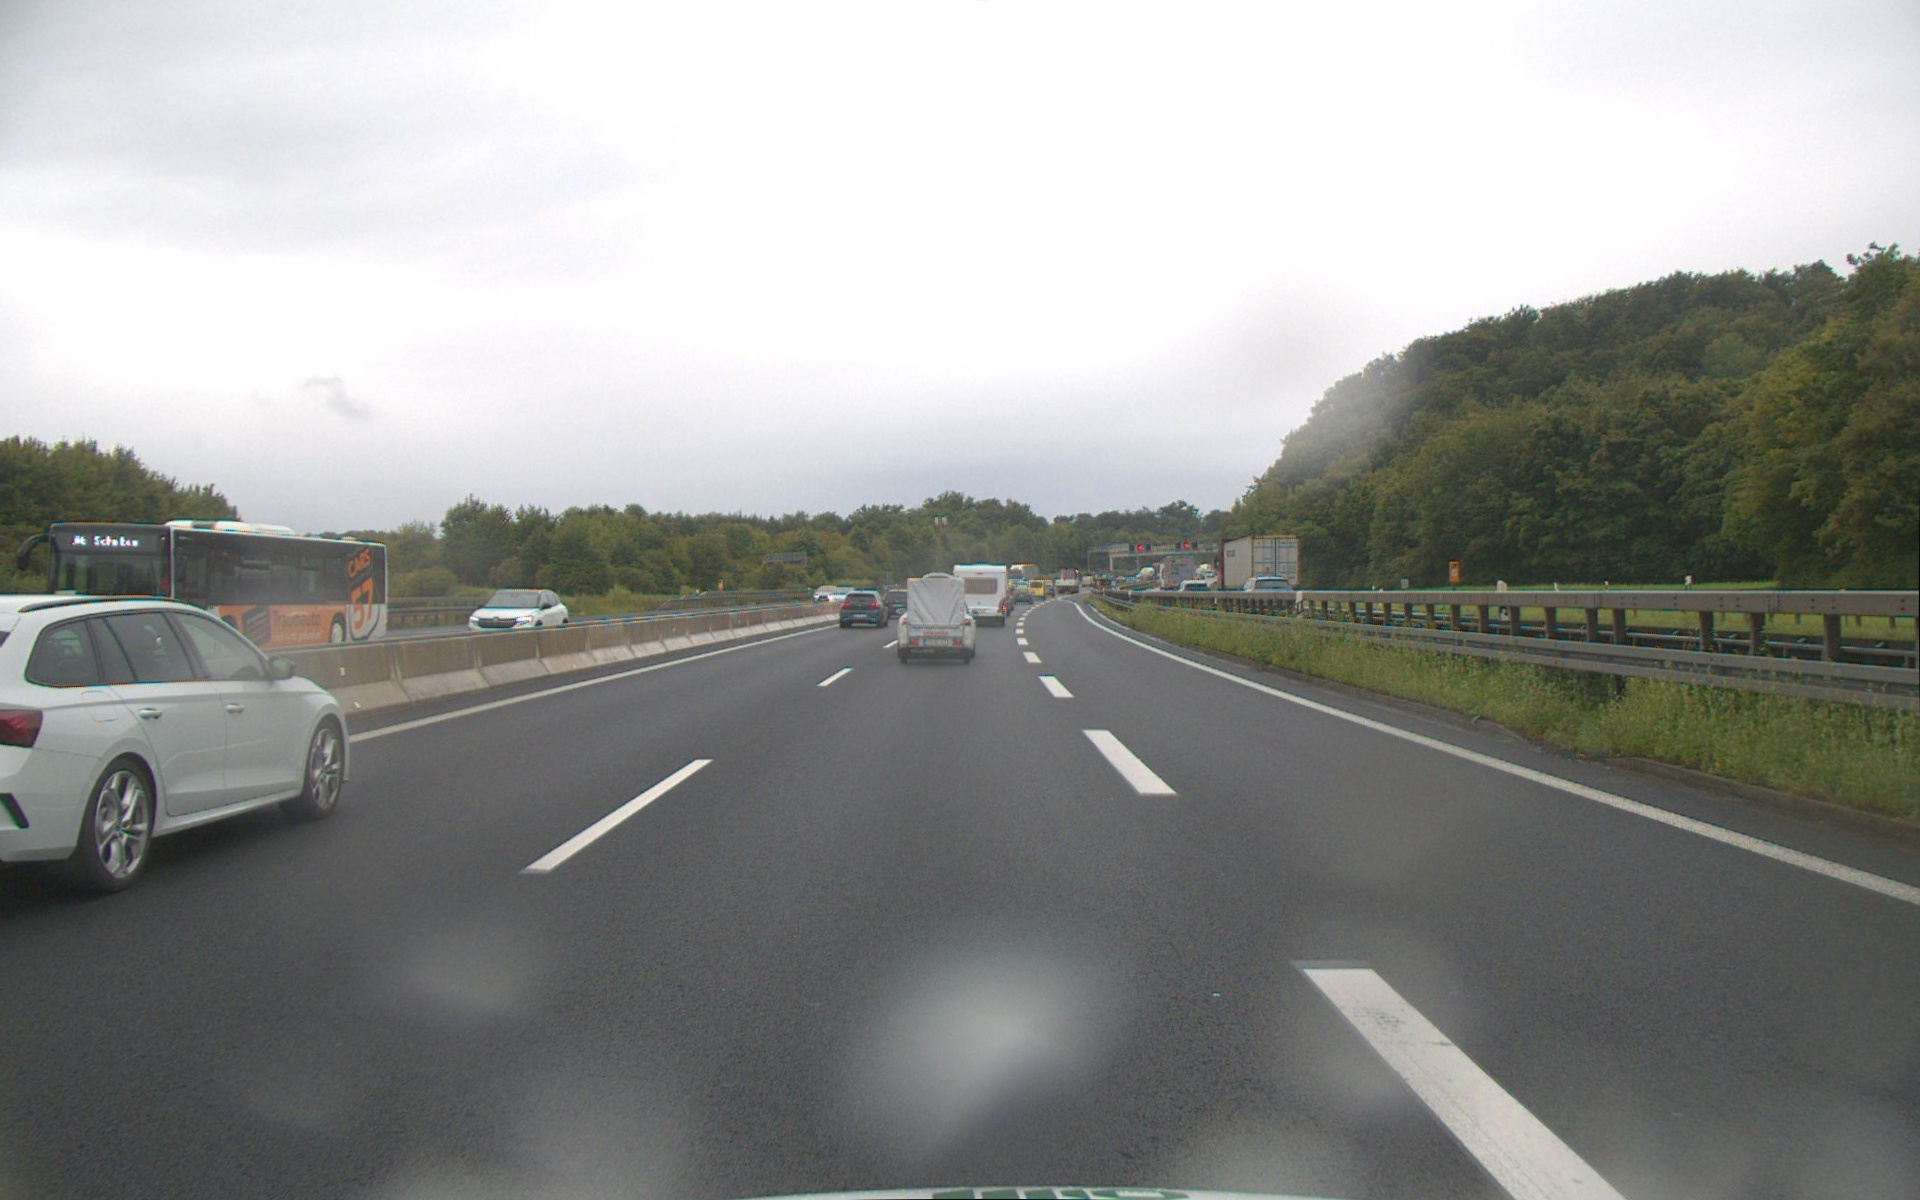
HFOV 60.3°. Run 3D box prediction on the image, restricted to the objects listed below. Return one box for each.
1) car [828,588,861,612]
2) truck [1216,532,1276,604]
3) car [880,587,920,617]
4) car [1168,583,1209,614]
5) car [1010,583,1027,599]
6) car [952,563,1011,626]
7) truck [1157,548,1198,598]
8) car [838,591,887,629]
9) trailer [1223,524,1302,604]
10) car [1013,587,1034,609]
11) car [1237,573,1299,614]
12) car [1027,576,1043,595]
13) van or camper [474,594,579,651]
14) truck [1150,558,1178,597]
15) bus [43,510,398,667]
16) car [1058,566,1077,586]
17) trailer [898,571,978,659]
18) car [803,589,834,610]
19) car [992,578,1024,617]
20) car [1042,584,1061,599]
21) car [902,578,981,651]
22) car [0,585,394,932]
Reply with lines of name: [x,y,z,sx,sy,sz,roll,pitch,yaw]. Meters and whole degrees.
car: [-8.745,0.008,125.468,1.952,1.741,4.305,0,0,4]
truck: [16.363,-1.771,94.931,2.561,3.952,6.394,0,0,3]
car: [-3.060,0.100,85.116,1.728,1.481,4.001,0,0,2]
car: [12.532,-0.098,90.867,1.733,1.638,4.644,0,0,2]
car: [7.692,-1.186,216.096,1.951,2.049,4.003,-1,0,6]
car: [0.993,-0.226,72.411,2.455,2.630,5.700,0,0,1]
truck: [21.660,-2.578,165.335,3.148,4.748,13.038,0,0,4]
car: [-3.912,0.406,66.745,1.641,1.481,4.001,0,0,1]
trailer: [16.075,-1.788,88.711,2.549,3.962,12.495,0,0,3]
car: [5.475,-0.198,142.437,1.641,1.844,4.000,0,0,0]
car: [11.481,-0.235,61.867,1.632,1.407,4.127,-2,0,2]
car: [7.826,-1.499,172.950,1.640,1.844,4.002,0,0,3]
van or camper: [-11.909,0.587,45.723,1.712,1.473,4.585,0,0,0]
truck: [26.151,-2.753,211.629,3.147,4.748,13.043,-1,0,8]
bus: [-16.346,-0.206,37.975,2.643,3.010,11.898,-1,0,1]
car: [14.801,-3.264,227.364,2.462,2.620,5.315,0,0,5]
trailer: [-0.450,0.318,36.697,1.641,1.844,4.000,0,0,1]
car: [-11.691,-0.043,136.767,1.852,1.679,4.605,-1,0,5]
car: [2.701,-0.139,93.560,1.641,2.103,4.000,0,0,0]
car: [10.666,-1.007,193.344,1.994,1.712,4.003,-1,0,6]
car: [-0.398,0.338,40.144,1.781,1.644,4.778,0,0,1]
car: [-4.953,0.687,9.370,1.781,1.481,4.778,0,0,1]
